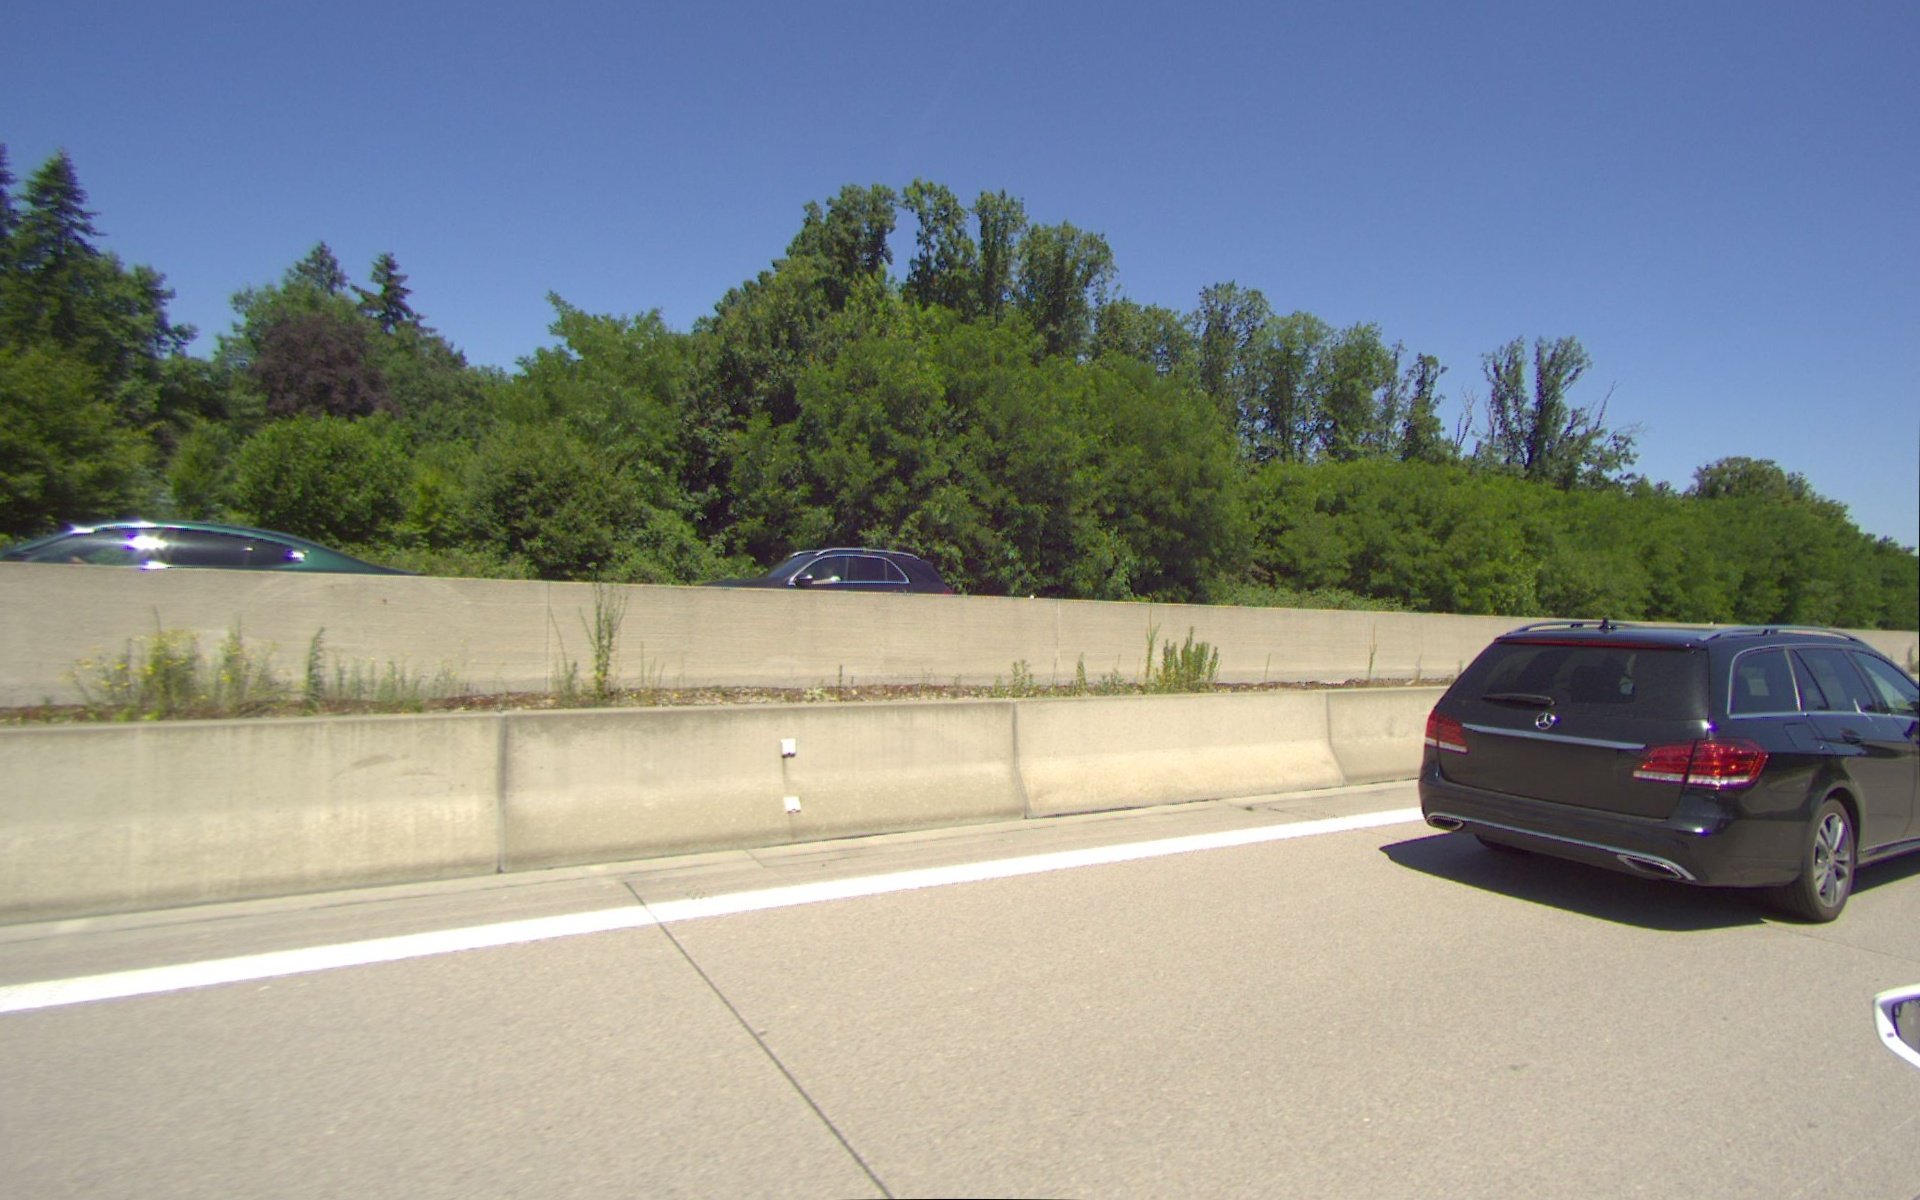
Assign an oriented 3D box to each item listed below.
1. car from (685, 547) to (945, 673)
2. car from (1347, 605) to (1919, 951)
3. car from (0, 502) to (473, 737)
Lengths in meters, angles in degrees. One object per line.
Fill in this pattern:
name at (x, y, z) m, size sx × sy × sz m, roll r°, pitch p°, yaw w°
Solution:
car at (-2.451, 0.191, 17.303) m, size 4.090 × 1.948 × 1.651 m, roll 2°, pitch 0°, yaw -30°
car at (5.170, 0.839, 6.617) m, size 5.539 × 1.493 × 1.881 m, roll 1°, pitch 0°, yaw -31°
car at (-7.036, 0.187, 9.818) m, size 3.960 × 1.948 × 1.651 m, roll 2°, pitch 0°, yaw -30°
